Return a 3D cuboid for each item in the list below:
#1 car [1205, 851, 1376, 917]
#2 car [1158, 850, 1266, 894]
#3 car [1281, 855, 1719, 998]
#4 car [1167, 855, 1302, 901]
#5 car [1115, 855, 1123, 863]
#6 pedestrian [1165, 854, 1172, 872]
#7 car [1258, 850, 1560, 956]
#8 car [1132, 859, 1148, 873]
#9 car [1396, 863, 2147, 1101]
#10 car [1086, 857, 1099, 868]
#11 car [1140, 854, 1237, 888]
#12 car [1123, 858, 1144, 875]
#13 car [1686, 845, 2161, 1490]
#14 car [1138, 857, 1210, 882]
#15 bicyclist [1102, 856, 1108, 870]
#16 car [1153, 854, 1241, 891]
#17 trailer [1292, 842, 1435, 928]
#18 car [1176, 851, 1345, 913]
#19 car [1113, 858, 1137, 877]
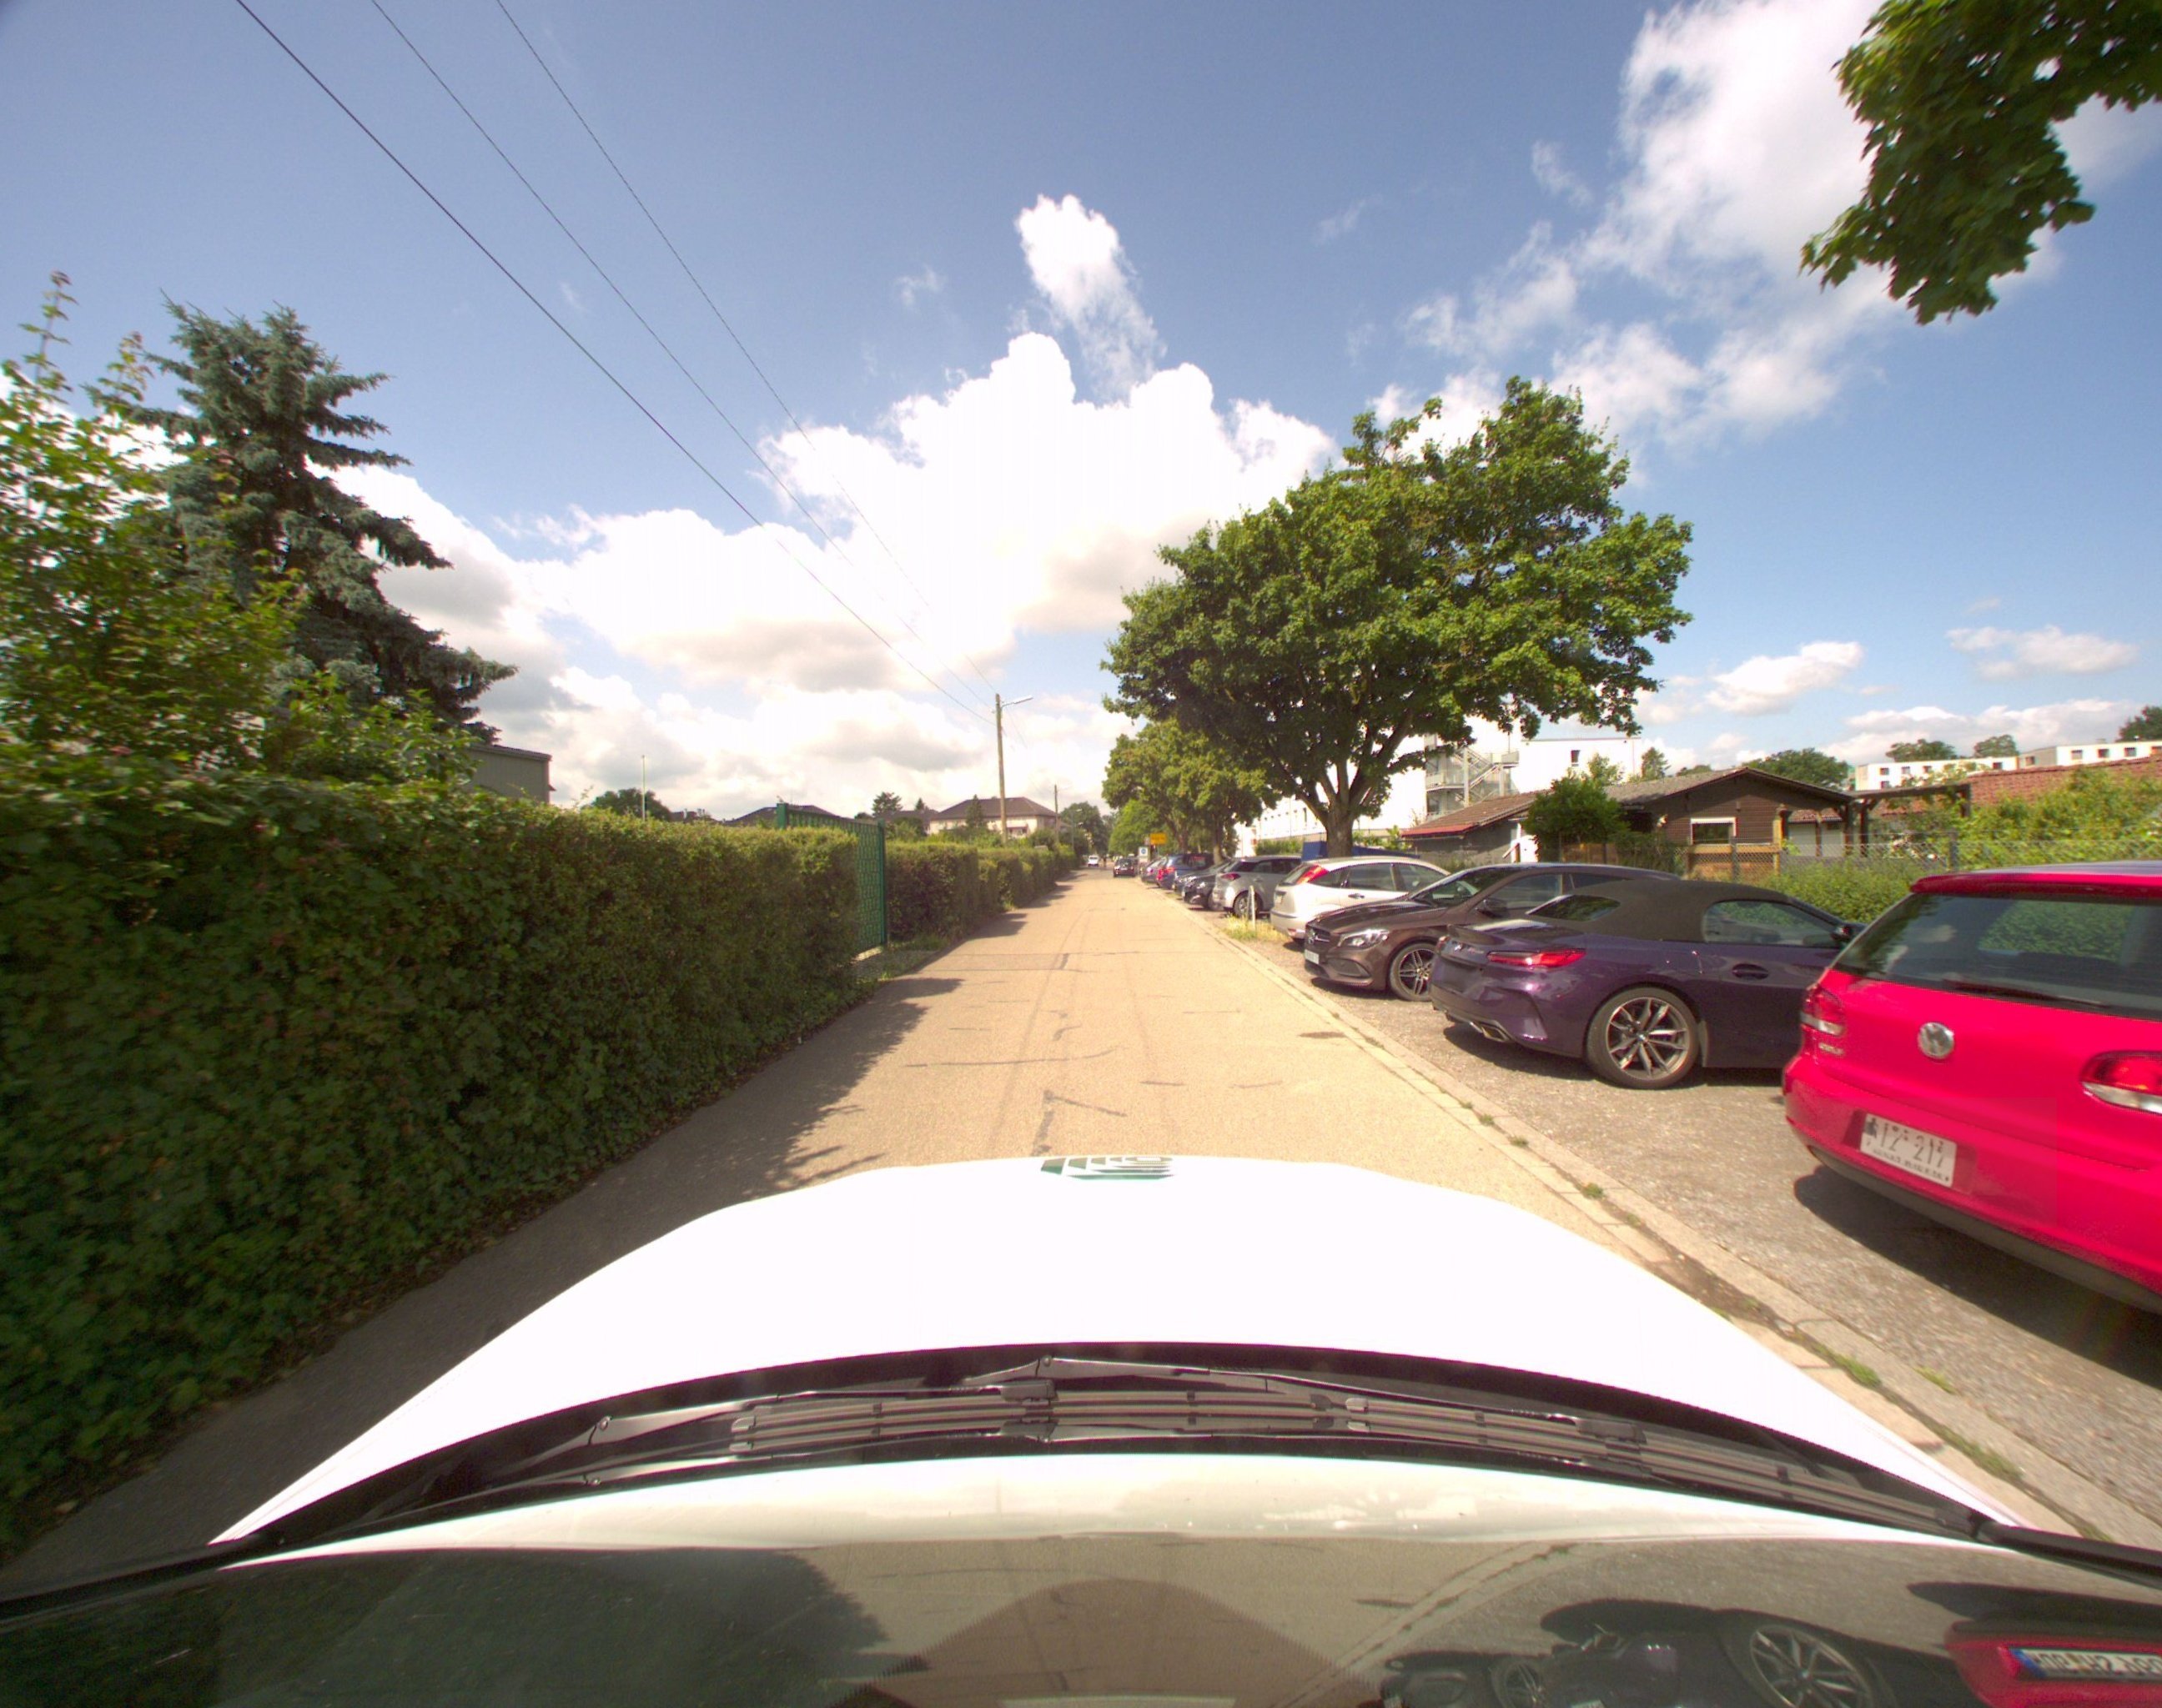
[{"bbox_3d":[5.043,0.716,19.928,3.714,1.540,1.848,0,-1,-2],"label":"car"},{"bbox_3d":[5.257,0.713,33.093,4.138,1.637,1.880,-2,-1,2],"label":"car"},{"bbox_3d":[4.515,0.753,9.243,4.053,1.455,1.869,0,-1,-1],"label":"car"},{"bbox_3d":[5.208,0.801,28.080,4.320,1.492,1.975,0,-1,0],"label":"car"},{"bbox_3d":[9.846,1.360,212.497,1.986,2.014,4.000,0,-1,1],"label":"car"},{"bbox_3d":[8.922,0.918,83.405,0.606,1.745,0.724,0,-1,15],"label":"pedestrian"},{"bbox_3d":[4.968,0.712,12.844,4.046,1.511,1.960,0,-1,4],"label":"car"},{"bbox_3d":[6.247,1.246,86.722,1.657,1.435,3.544,0,-1,3],"label":"car"},{"bbox_3d":[4.635,0.792,6.072,3.892,1.424,1.960,0,-1,4],"label":"car"},{"bbox_3d":[1.883,1.347,133.143,1.894,1.814,4.004,0,-1,4],"label":"car"},{"bbox_3d":[5.198,0.825,39.758,4.534,1.578,1.808,0,-1,0],"label":"car"},{"bbox_3d":[4.928,1.134,76.055,1.654,1.552,3.646,0,-1,9],"label":"car"},{"bbox_3d":[4.596,0.753,2.557,3.968,1.519,1.857,0,-1,4],"label":"car"},{"bbox_3d":[5.760,0.948,50.633,4.337,1.392,1.721,-2,-1,5],"label":"car"},{"bbox_3d":[3.059,1.158,104.041,0.656,1.852,1.044,-2,-1,4],"label":"bicyclist"},{"bbox_3d":[5.281,0.830,37.346,3.795,1.532,1.762,-2,-1,1],"label":"car"},{"bbox_3d":[5.840,0.613,17.028,2.444,1.720,1.517,0,0,-3],"label":"trailer"},{"bbox_3d":[4.859,0.748,22.515,4.287,1.594,2.000,0,-1,0],"label":"car"},{"bbox_3d":[3.522,1.057,64.376,1.655,1.506,4.007,0,-1,6],"label":"car"}]
